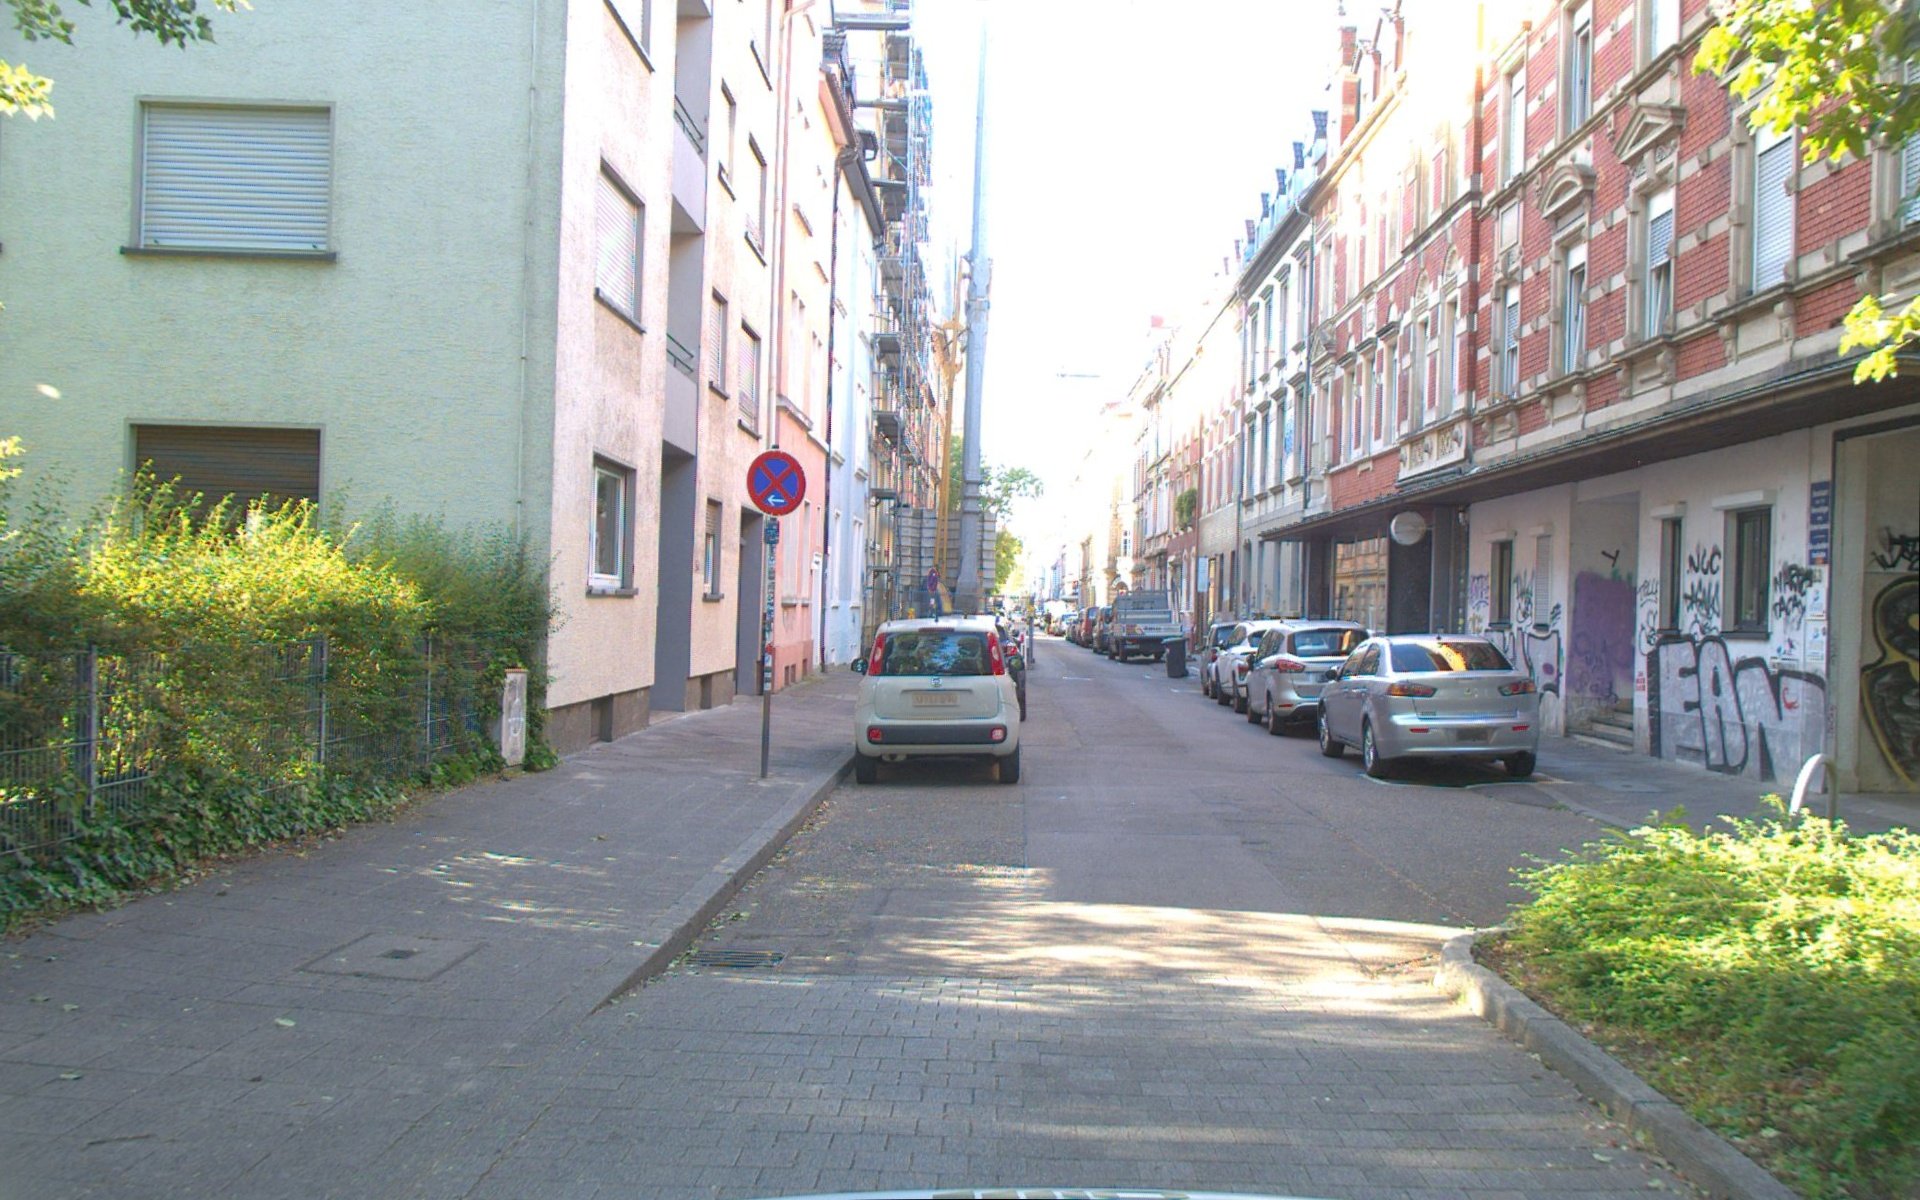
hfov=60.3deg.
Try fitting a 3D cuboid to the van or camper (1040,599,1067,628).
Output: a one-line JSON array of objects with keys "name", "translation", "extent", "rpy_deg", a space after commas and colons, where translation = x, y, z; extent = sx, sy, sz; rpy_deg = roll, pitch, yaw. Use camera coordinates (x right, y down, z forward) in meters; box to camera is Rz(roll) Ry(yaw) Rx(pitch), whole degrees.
[{"name": "van or camper", "translation": [8.301, 1.202, 147.409], "extent": [1.954, 2.552, 4.200], "rpy_deg": [0, 0, -3]}]

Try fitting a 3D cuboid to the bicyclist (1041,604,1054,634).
[{"name": "bicyclist", "translation": [5.407, 1.166, 101.814], "extent": [0.715, 1.792, 0.835], "rpy_deg": [2, 0, 2]}]

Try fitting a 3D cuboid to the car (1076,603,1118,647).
[{"name": "car", "translation": [6.688, 1.219, 80.873], "extent": [1.641, 2.067, 3.868], "rpy_deg": [1, -1, -1]}]

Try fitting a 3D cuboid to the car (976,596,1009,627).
[{"name": "car", "translation": [1.719, 0.607, 89.146], "extent": [1.641, 1.598, 3.868], "rpy_deg": [1, -1, -1]}]

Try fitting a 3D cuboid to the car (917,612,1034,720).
[{"name": "car", "translation": [0.195, 0.977, 26.219], "extent": [1.694, 1.567, 4.377], "rpy_deg": [0, -1, -1]}]

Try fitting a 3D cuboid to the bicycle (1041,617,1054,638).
[{"name": "bicycle", "translation": [5.383, 1.674, 101.816], "extent": [0.709, 1.207, 2.043], "rpy_deg": [2, 0, 2]}]

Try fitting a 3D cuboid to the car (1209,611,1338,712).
[{"name": "car", "translation": [5.720, 1.082, 30.626], "extent": [1.710, 1.705, 4.341], "rpy_deg": [1, -1, 2]}]

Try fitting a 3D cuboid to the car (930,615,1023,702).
[{"name": "car", "translation": [0.347, 1.074, 31.928], "extent": [1.640, 1.538, 4.415], "rpy_deg": [1, -1, 1]}]

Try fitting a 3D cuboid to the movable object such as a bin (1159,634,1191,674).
[{"name": "movable object such as a bin", "translation": [5.927, 1.493, 45.614], "extent": [0.778, 1.074, 0.660], "rpy_deg": [1, -1, 1]}]

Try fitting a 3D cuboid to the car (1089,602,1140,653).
[{"name": "car", "translation": [6.358, 1.115, 68.381], "extent": [1.641, 1.997, 4.108], "rpy_deg": [1, -1, -1]}]

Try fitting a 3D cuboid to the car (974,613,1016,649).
[{"name": "car", "translation": [1.454, 1.295, 70.144], "extent": [1.641, 1.471, 3.868], "rpy_deg": [1, -1, -1]}]

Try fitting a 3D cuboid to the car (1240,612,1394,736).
[{"name": "car", "translation": [5.298, 1.049, 24.982], "extent": [1.606, 1.685, 3.870], "rpy_deg": [1, -1, 2]}]

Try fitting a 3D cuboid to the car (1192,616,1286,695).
[{"name": "car", "translation": [5.990, 1.166, 35.845], "extent": [1.563, 1.587, 3.815], "rpy_deg": [1, 0, 3]}]

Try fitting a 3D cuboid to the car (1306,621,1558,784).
[{"name": "car", "translation": [5.225, 1.065, 18.885], "extent": [1.685, 1.589, 4.399], "rpy_deg": [1, -1, 1]}]

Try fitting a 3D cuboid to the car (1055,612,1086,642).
[{"name": "car", "translation": [7.904, 1.918, 118.778], "extent": [1.952, 2.049, 4.000], "rpy_deg": [1, 0, 0]}]

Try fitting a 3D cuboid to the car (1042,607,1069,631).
[{"name": "car", "translation": [7.675, 1.499, 132.830], "extent": [1.952, 1.881, 4.000], "rpy_deg": [0, 0, 0]}]

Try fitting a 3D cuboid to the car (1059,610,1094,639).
[{"name": "car", "translation": [6.642, 1.383, 94.348], "extent": [1.641, 1.598, 3.868], "rpy_deg": [1, -1, -1]}]

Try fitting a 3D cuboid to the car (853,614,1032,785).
[{"name": "car", "translation": [-0.184, 0.941, 17.201], "extent": [1.641, 1.567, 3.868], "rpy_deg": [0, -1, -1]}]

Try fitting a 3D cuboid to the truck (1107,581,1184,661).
[{"name": "truck", "translation": [6.442, 0.721, 57.876], "extent": [2.145, 2.653, 5.234], "rpy_deg": [0, 0, 0]}]

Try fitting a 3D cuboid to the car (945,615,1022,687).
[{"name": "car", "translation": [0.555, 1.115, 37.654], "extent": [1.640, 1.503, 4.608], "rpy_deg": [1, -1, 1]}]

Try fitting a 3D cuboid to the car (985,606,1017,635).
[{"name": "car", "translation": [2.301, 1.170, 94.320], "extent": [1.641, 1.598, 3.868], "rpy_deg": [1, -1, -1]}]
